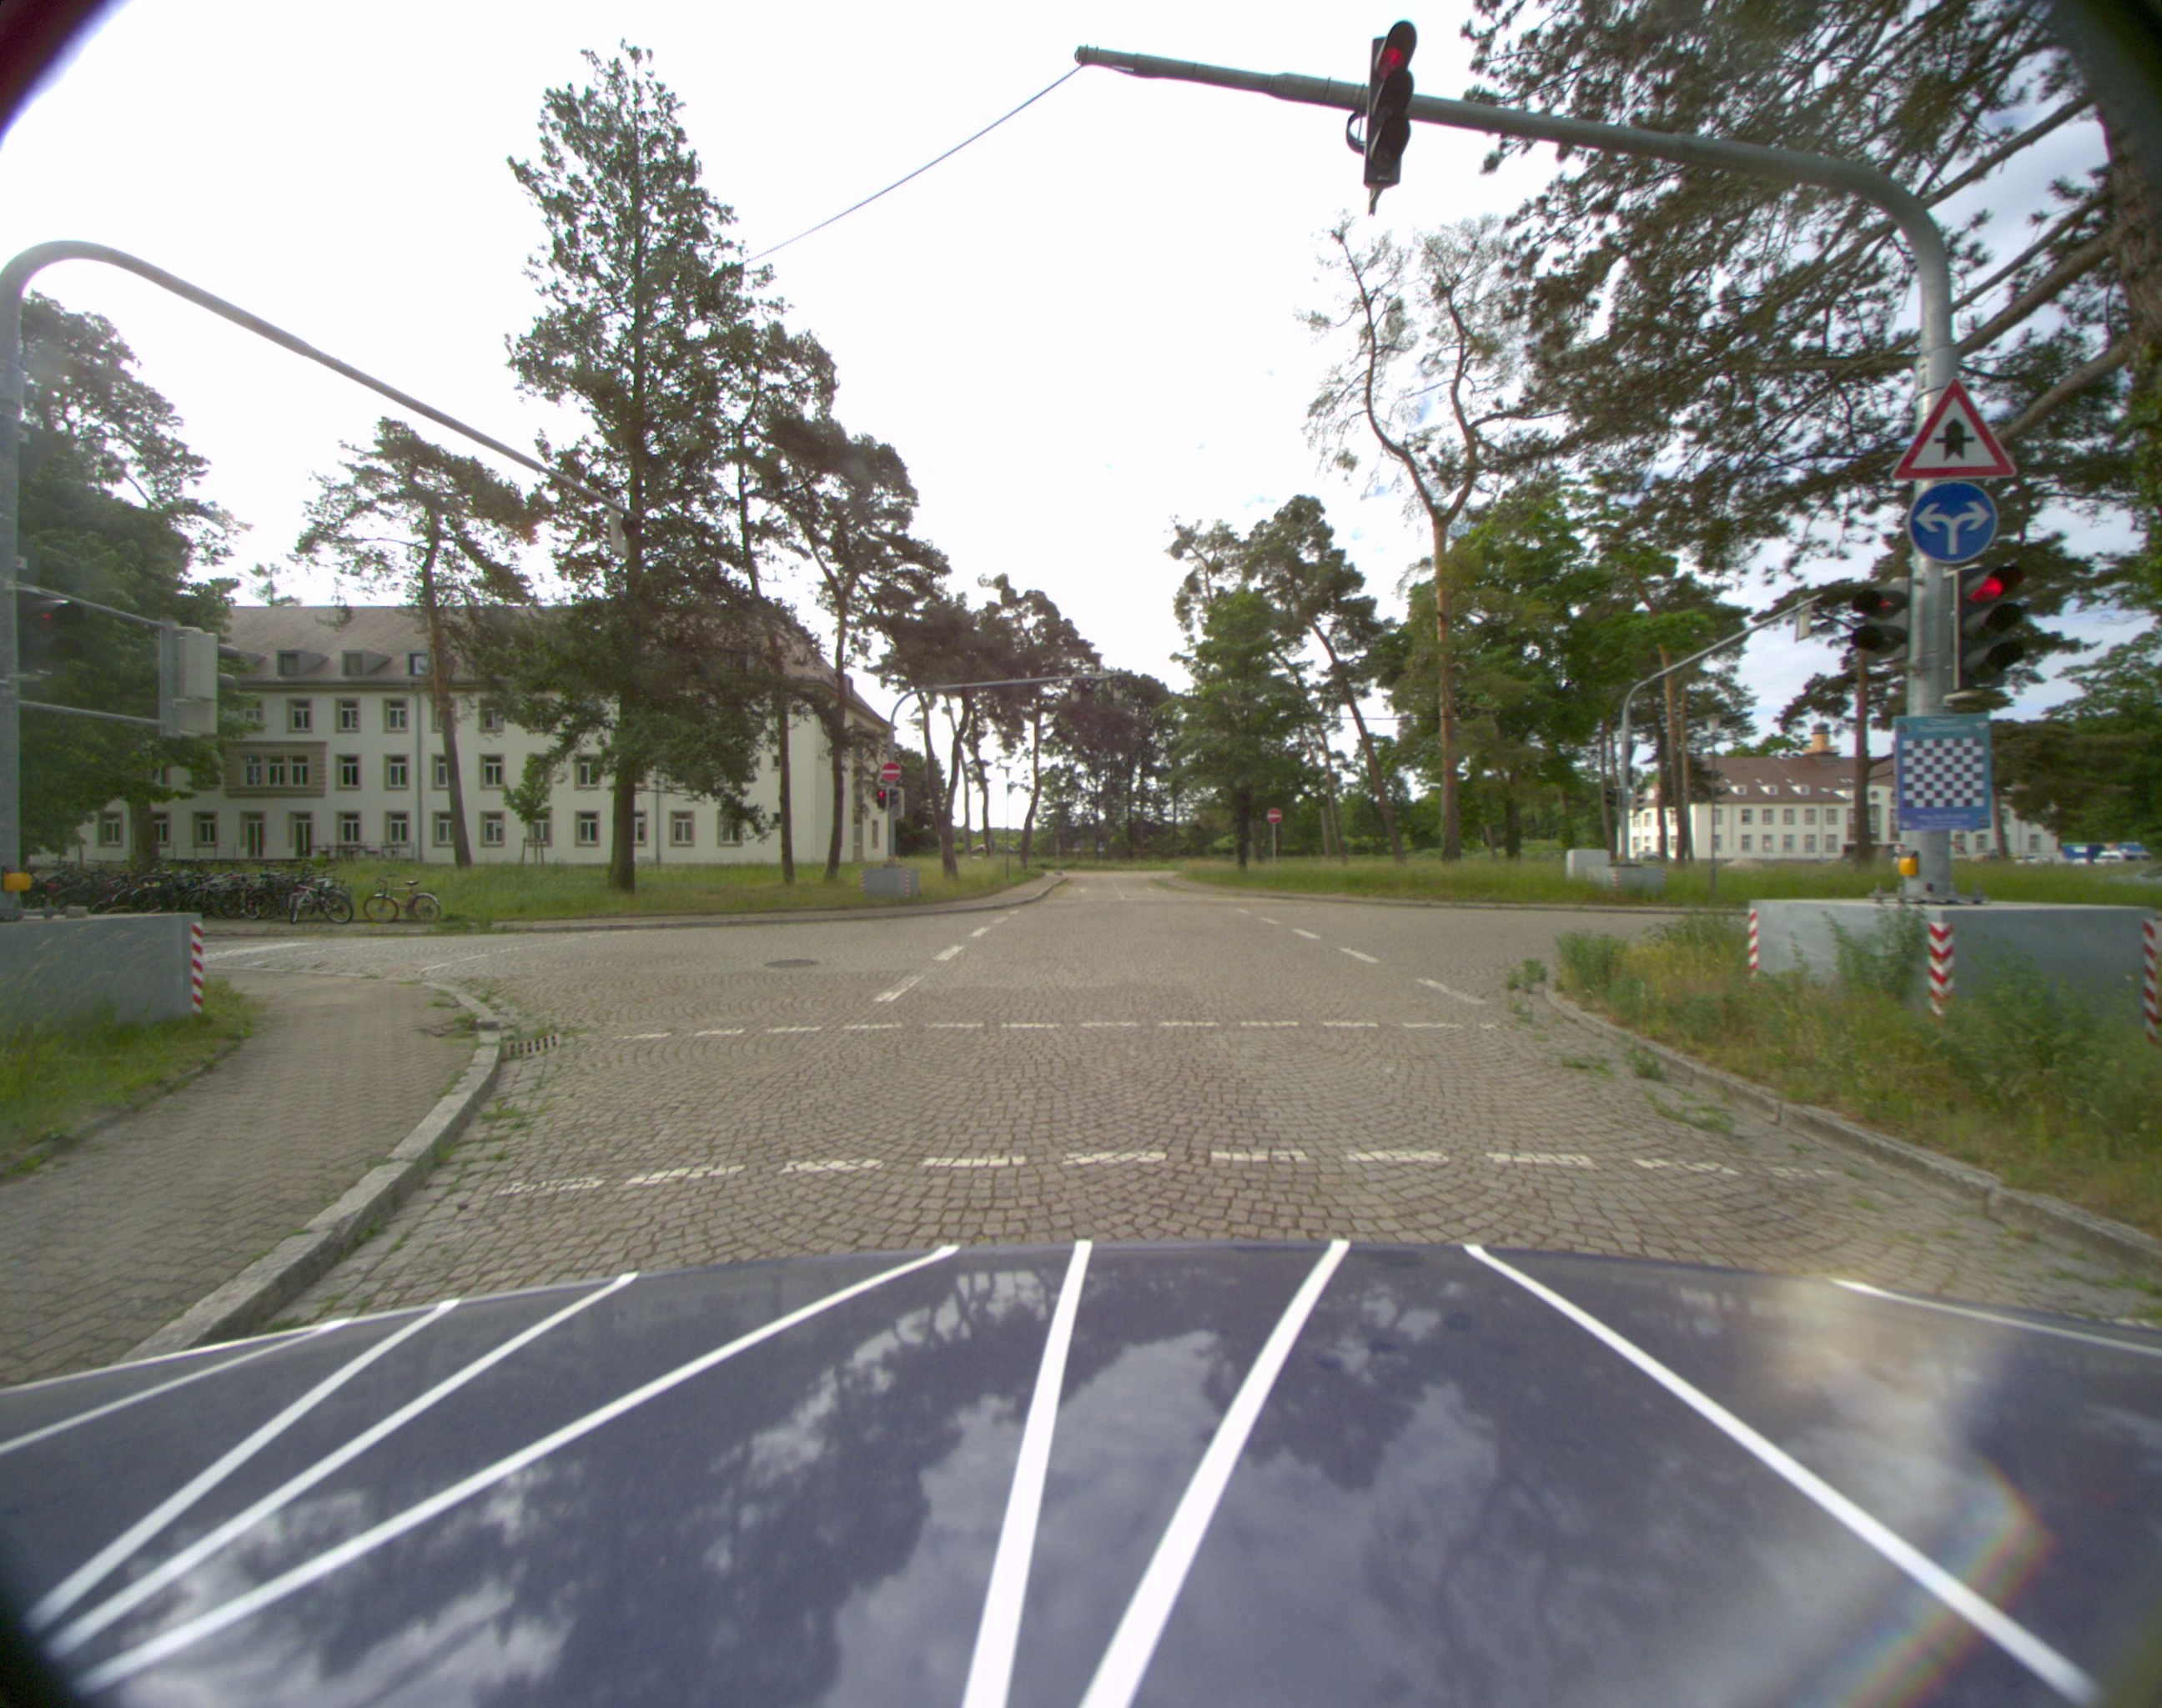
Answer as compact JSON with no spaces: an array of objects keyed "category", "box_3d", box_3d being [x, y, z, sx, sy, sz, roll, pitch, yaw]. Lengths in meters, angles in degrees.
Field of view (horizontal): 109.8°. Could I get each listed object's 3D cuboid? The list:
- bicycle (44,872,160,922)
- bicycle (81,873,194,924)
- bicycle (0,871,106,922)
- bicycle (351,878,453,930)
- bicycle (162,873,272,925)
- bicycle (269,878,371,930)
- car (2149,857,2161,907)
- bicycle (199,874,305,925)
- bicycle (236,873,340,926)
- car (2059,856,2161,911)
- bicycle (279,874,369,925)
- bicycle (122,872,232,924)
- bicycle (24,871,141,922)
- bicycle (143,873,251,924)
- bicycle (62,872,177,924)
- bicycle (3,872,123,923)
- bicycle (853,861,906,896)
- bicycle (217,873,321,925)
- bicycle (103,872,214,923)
[{"category":"bicycle","box_3d":[-23.568,1.010,18.336,0.448,1.121,1.731,0,1,4]},{"category":"bicycle","box_3d":[-22.602,1.042,18.246,0.448,1.121,1.731,0,1,4]},{"category":"bicycle","box_3d":[-24.971,0.995,18.373,0.448,1.121,1.731,0,1,4]},{"category":"bicycle","box_3d":[-14.896,1.084,16.695,1.656,1.079,0.614,0,1,-2]},{"category":"bicycle","box_3d":[-20.523,1.047,18.104,0.447,1.121,1.732,0,1,10]},{"category":"bicycle","box_3d":[-16.599,1.080,16.585,1.655,1.079,0.615,0,1,3]},{"category":"car","box_3d":[33.267,0.849,20.788,1.829,1.467,4.401,0,0,-1]},{"category":"bicycle","box_3d":[-19.729,1.057,18.137,0.447,1.121,1.732,0,1,10]},{"category":"bicycle","box_3d":[-18.761,1.050,18.029,0.476,1.121,1.704,0,1,10]},{"category":"car","box_3d":[30.641,0.820,20.879,1.829,1.467,4.401,0,0,-1]},{"category":"bicycle","box_3d":[-18.133,1.058,18.250,0.476,1.121,1.656,0,1,0]},{"category":"bicycle","box_3d":[-21.581,1.027,18.190,0.448,1.121,1.731,0,1,4]},{"category":"bicycle","box_3d":[-24.032,1.000,18.340,0.448,1.121,1.731,0,1,4]},{"category":"bicycle","box_3d":[-21.071,1.035,18.159,0.448,1.121,1.731,0,1,5]},{"category":"bicycle","box_3d":[-23.088,1.033,18.294,0.448,1.121,1.731,0,1,4]},{"category":"bicycle","box_3d":[-24.533,1.019,18.361,0.448,1.121,1.731,0,1,4]},{"category":"bicycle","box_3d":[-6.487,0.766,24.484,0.613,1.079,1.660,0,1,33]},{"category":"bicycle","box_3d":[-19.254,1.042,18.062,0.447,1.121,1.703,0,1,10]},{"category":"bicycle","box_3d":[-22.063,1.022,18.229,0.448,1.121,1.731,0,1,4]}]
